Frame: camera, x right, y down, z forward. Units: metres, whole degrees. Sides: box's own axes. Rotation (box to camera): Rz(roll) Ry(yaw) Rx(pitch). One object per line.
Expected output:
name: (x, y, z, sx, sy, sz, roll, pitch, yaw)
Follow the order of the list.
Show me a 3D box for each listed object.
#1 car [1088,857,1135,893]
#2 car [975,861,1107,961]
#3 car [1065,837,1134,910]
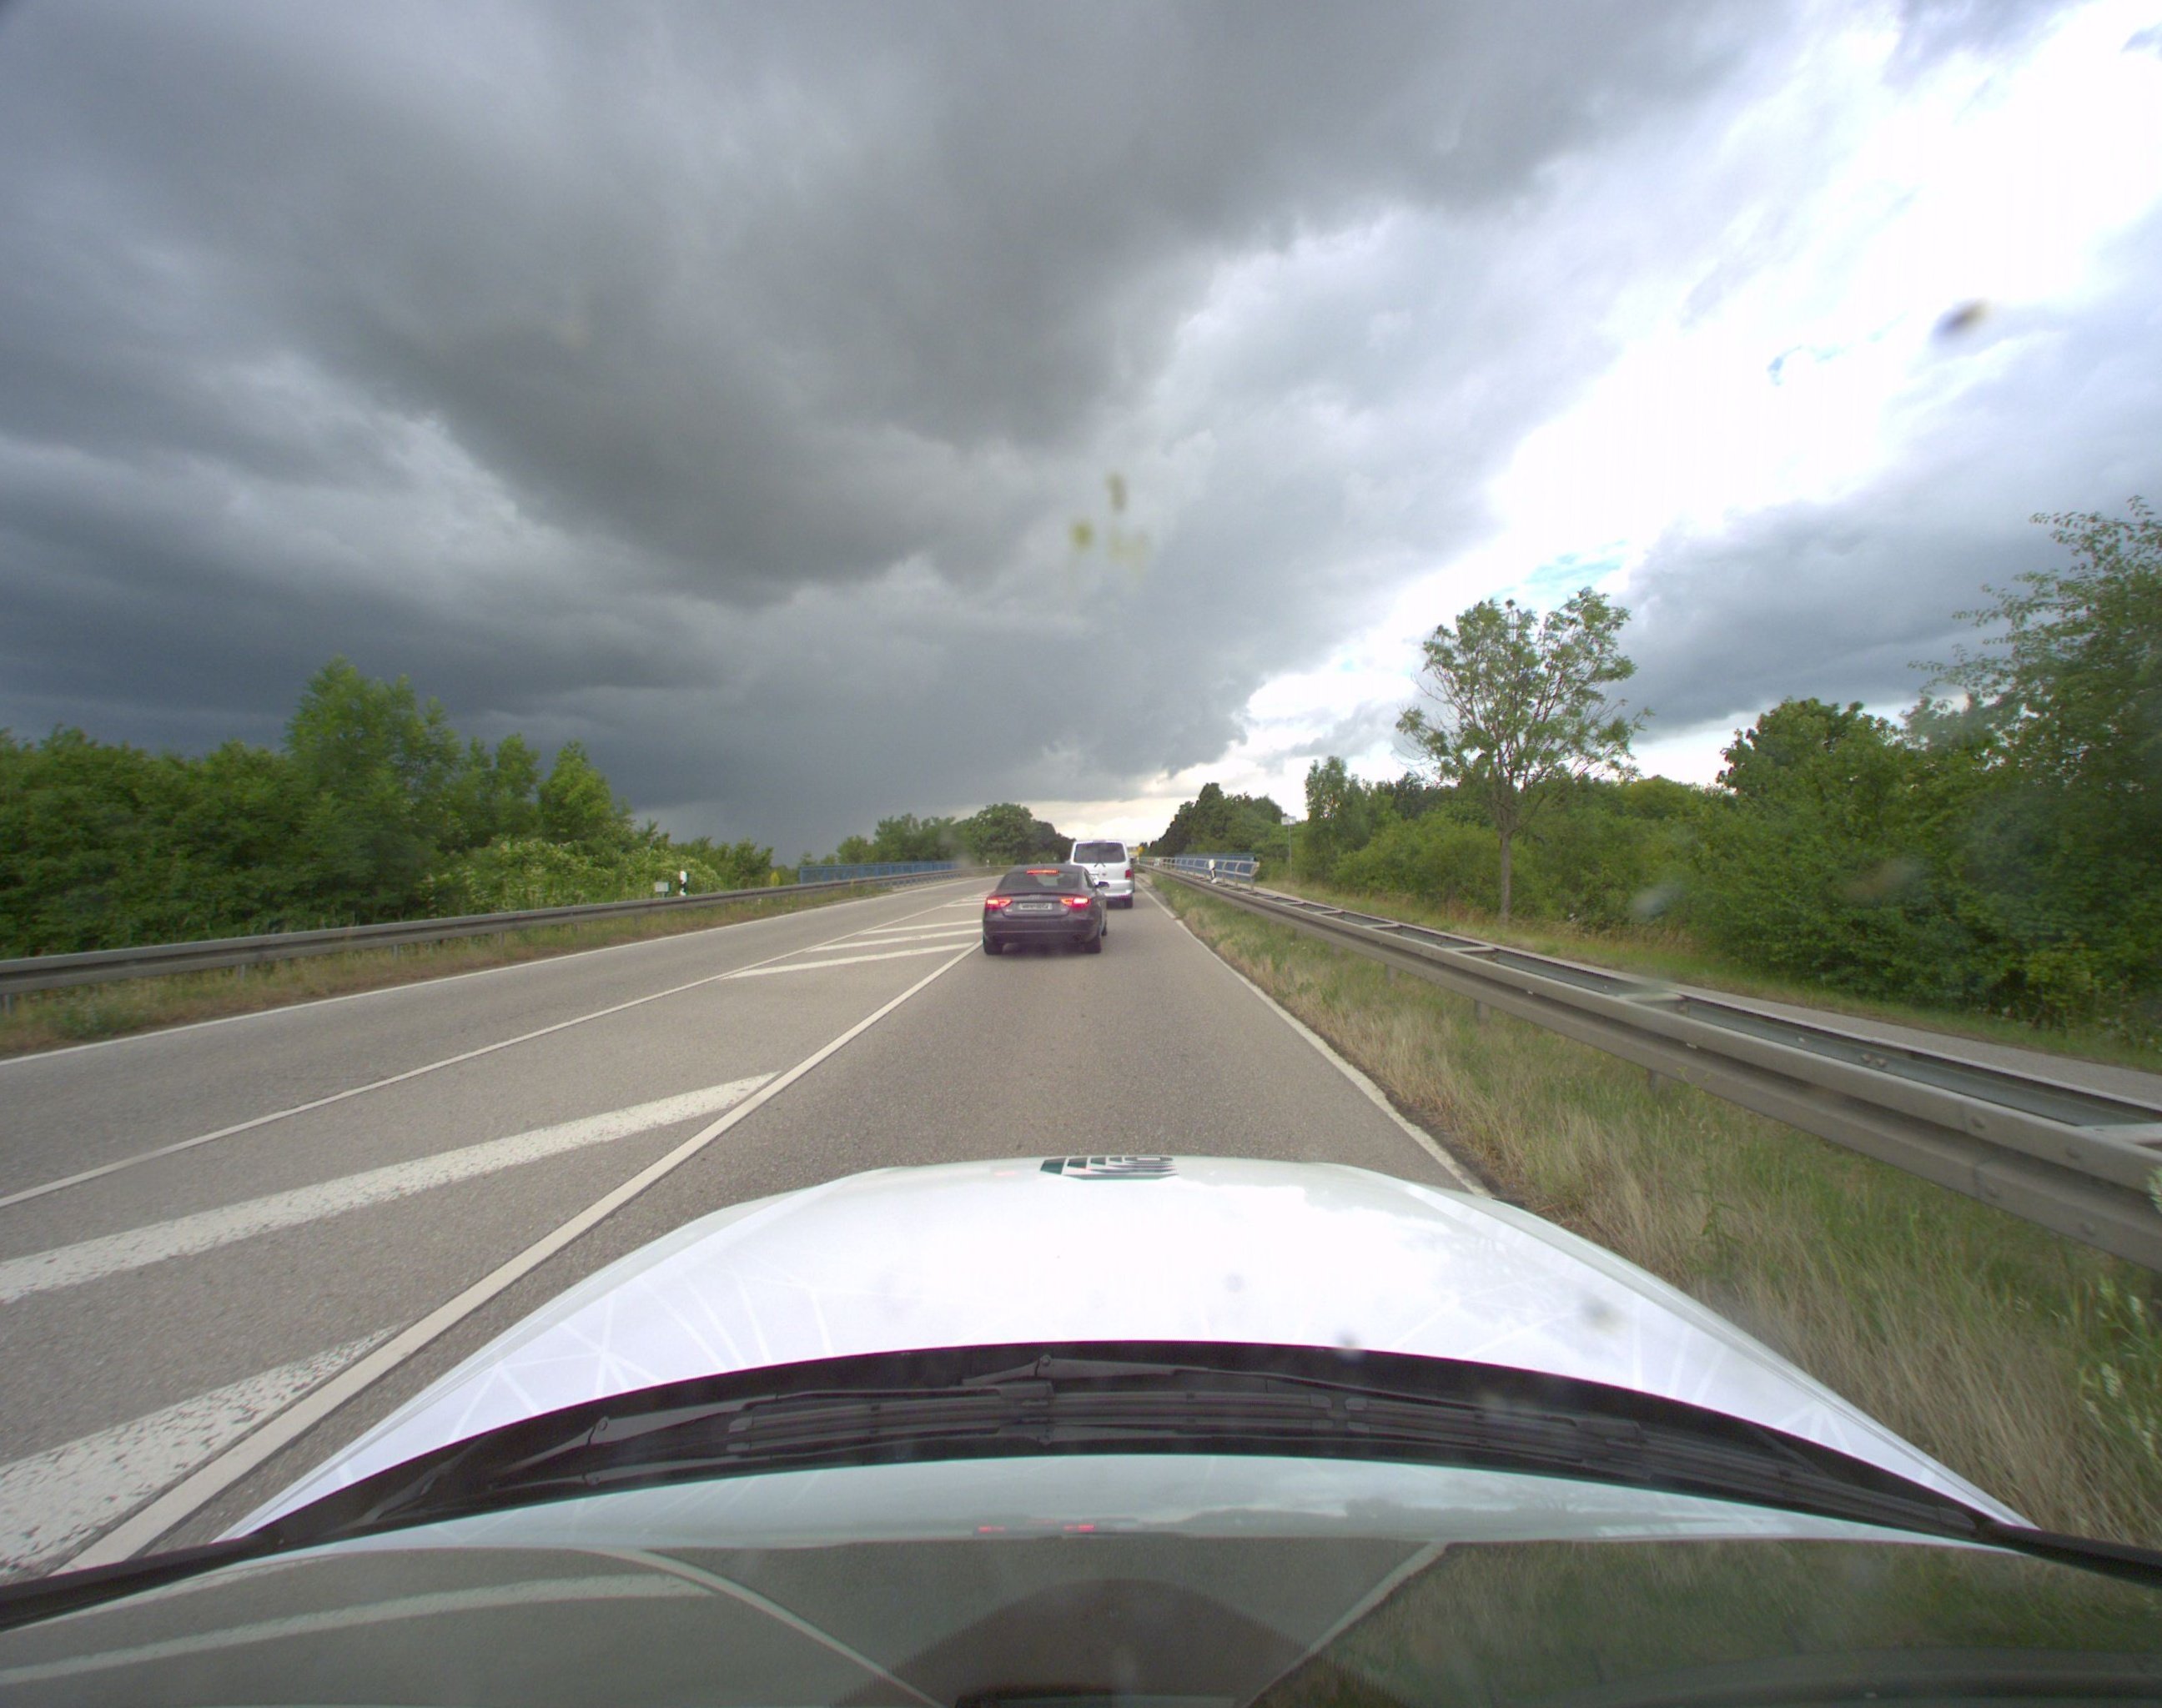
car: (1.303, 0.854, 34.173, 1.814, 1.381, 4.075, -1, 0, 3)
car: (-0.510, 0.831, 13.697, 1.814, 1.381, 4.074, -2, 0, 2)
car: (0.574, 0.555, 24.364, 1.821, 1.935, 4.001, -2, 0, 2)
